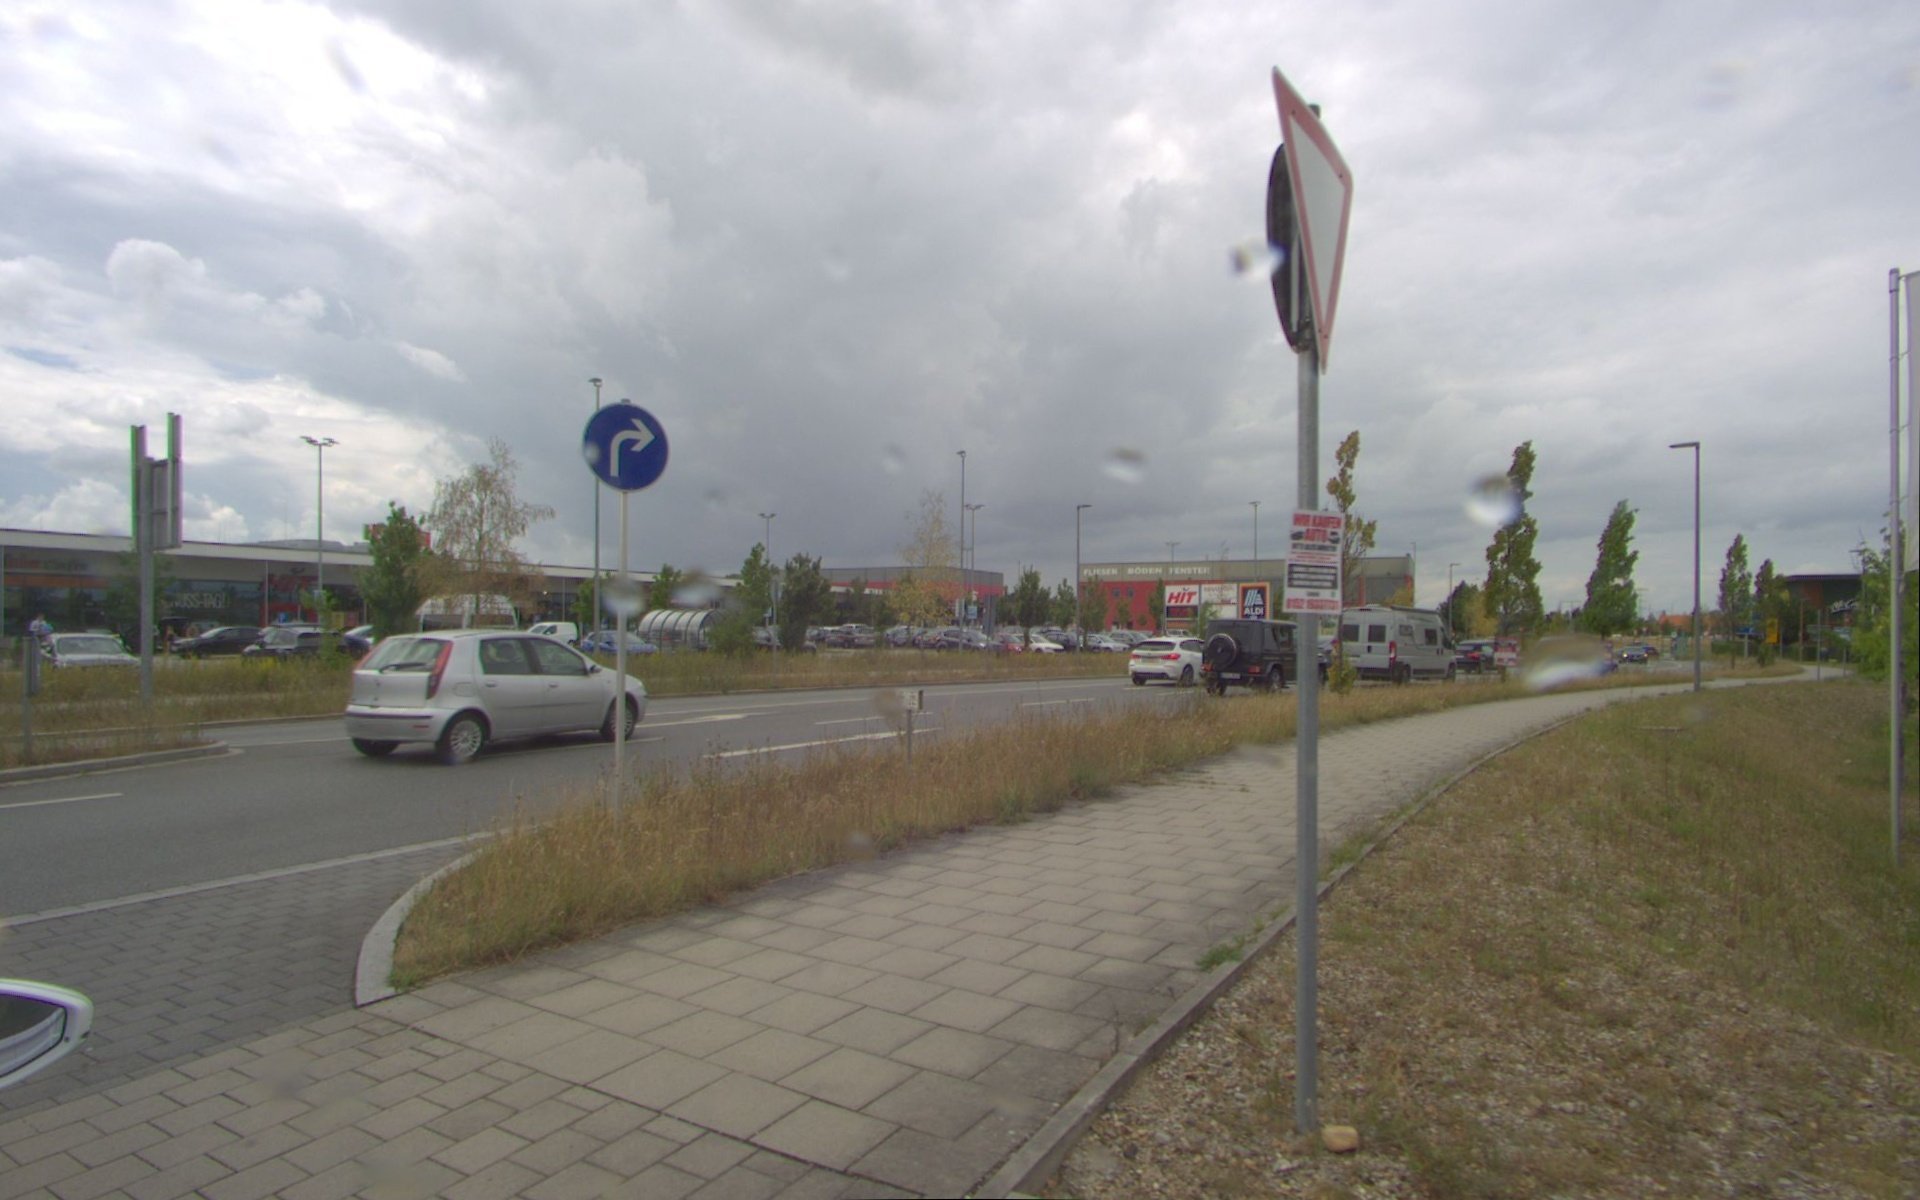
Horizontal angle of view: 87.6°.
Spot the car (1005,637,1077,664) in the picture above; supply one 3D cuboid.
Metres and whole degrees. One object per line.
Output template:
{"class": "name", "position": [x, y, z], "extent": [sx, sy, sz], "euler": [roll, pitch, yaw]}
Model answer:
{"class": "car", "position": [4.692, 2.896, 58.127], "extent": [3.770, 1.408, 1.899], "euler": [0, -1, 40]}

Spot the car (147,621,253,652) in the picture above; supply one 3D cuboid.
{"class": "car", "position": [-39.765, 1.887, 52.471], "extent": [1.970, 1.527, 3.984], "euler": [0, -2, 29]}

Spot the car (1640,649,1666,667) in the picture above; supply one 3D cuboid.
{"class": "car", "position": [77.440, 6.447, 111.925], "extent": [1.781, 1.873, 3.903], "euler": [-1, -2, 27]}

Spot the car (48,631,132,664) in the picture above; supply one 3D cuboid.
{"class": "car", "position": [-43.391, 2.337, 49.952], "extent": [3.940, 1.527, 1.991], "euler": [0, -1, 30]}

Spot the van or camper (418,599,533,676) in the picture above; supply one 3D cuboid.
{"class": "van or camper", "position": [-16.965, 1.323, 35.013], "extent": [3.955, 2.524, 2.272], "euler": [-2, -2, 42]}

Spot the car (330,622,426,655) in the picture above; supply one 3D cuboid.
{"class": "car", "position": [-30.655, 2.001, 52.815], "extent": [1.974, 1.639, 3.975], "euler": [0, -1, 36]}

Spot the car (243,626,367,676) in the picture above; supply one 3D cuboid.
{"class": "car", "position": [-20.727, 1.582, 31.647], "extent": [4.096, 1.469, 1.983], "euler": [-1, -2, 36]}

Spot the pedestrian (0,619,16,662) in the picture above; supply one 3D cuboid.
{"class": "pedestrian", "position": [-37.306, 1.565, 38.820], "extent": [0.886, 1.652, 0.820], "euler": [-1, -2, 33]}

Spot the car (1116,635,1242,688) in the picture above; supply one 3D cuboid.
{"class": "car", "position": [6.689, 1.807, 30.314], "extent": [1.782, 1.469, 4.211], "euler": [-1, -2, 44]}

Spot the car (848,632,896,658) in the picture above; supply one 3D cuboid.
{"class": "car", "position": [-6.381, 3.248, 72.705], "extent": [1.965, 1.756, 3.993], "euler": [0, -1, 20]}

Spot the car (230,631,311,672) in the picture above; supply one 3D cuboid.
{"class": "car", "position": [-30.655, 2.255, 44.491], "extent": [3.948, 1.674, 1.808], "euler": [-1, -1, 37]}

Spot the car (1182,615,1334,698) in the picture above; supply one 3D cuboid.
{"class": "car", "position": [7.886, 1.452, 26.198], "extent": [1.977, 1.948, 4.810], "euler": [0, -3, 41]}

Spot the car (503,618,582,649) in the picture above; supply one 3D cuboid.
{"class": "car", "position": [-26.047, 2.116, 62.613], "extent": [1.968, 1.842, 4.416], "euler": [-1, -2, 25]}

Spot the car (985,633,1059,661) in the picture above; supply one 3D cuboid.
{"class": "car", "position": [3.475, 2.617, 56.423], "extent": [3.770, 1.408, 1.899], "euler": [0, -1, 40]}

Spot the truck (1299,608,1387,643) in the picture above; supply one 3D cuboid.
{"class": "truck", "position": [34.613, 2.320, 90.437], "extent": [8.055, 2.983, 2.670], "euler": [1, -1, -25]}

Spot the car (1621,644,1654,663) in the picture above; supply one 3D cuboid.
{"class": "car", "position": [56.023, 4.409, 82.785], "extent": [1.755, 1.402, 4.116], "euler": [0, -2, 42]}

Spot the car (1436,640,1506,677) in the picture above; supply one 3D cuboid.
{"class": "car", "position": [23.974, 2.698, 46.869], "extent": [1.888, 1.588, 4.300], "euler": [0, -2, 42]}

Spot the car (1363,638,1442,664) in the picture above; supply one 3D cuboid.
{"class": "car", "position": [25.629, 2.956, 58.061], "extent": [3.946, 1.394, 1.855], "euler": [0, -1, 35]}

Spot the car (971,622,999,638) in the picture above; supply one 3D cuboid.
{"class": "car", "position": [2.769, 3.276, 109.516], "extent": [1.734, 1.675, 3.826], "euler": [0, -1, 24]}

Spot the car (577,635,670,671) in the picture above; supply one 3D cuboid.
{"class": "car", "position": [-13.796, 2.131, 40.934], "extent": [4.103, 1.402, 1.796], "euler": [-2, -3, 41]}

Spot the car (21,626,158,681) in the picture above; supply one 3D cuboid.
{"class": "car", "position": [-23.986, 1.447, 27.555], "extent": [4.096, 1.402, 1.983], "euler": [-1, -2, 36]}

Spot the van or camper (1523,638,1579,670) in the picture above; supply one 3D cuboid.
{"class": "van or camper", "position": [38.261, 3.465, 64.750], "extent": [1.979, 1.936, 5.157], "euler": [-1, -2, 44]}

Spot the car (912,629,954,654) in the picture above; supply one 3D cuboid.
{"class": "car", "position": [-1.856, 2.866, 70.217], "extent": [1.732, 1.675, 3.830], "euler": [0, -1, 19]}

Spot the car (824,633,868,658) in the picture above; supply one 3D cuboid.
{"class": "car", "position": [-8.402, 3.336, 73.900], "extent": [1.732, 1.675, 3.830], "euler": [0, -1, 19]}

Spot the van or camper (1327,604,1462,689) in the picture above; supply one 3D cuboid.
{"class": "van or camper", "position": [14.451, 1.533, 33.055], "extent": [2.173, 2.573, 6.115], "euler": [0, -3, 43]}

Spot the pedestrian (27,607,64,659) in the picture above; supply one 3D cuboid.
{"class": "pedestrian", "position": [-36.769, 1.326, 40.260], "extent": [0.989, 2.040, 0.863], "euler": [0, -1, 33]}

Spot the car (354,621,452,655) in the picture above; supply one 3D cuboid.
{"class": "car", "position": [-28.513, 1.918, 51.340], "extent": [1.974, 1.639, 3.975], "euler": [0, -1, 36]}

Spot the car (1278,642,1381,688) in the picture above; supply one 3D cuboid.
{"class": "car", "position": [13.812, 2.357, 37.256], "extent": [1.792, 1.527, 4.840], "euler": [-1, -2, 44]}

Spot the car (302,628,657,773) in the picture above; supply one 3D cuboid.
{"class": "car", "position": [-5.735, 1.099, 12.480], "extent": [1.770, 1.480, 3.808], "euler": [0, -1, 22]}

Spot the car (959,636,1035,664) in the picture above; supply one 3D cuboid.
{"class": "car", "position": [1.984, 2.698, 54.492], "extent": [3.770, 1.408, 1.899], "euler": [0, -1, 40]}

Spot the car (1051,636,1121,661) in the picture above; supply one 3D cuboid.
{"class": "car", "position": [7.619, 2.916, 60.612], "extent": [3.770, 1.408, 1.899], "euler": [0, -1, 40]}

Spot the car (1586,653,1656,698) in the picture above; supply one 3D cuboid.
{"class": "car", "position": [26.915, 3.031, 40.722], "extent": [3.473, 1.697, 1.669], "euler": [2, -3, -44]}

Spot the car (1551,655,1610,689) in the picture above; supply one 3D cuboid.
{"class": "car", "position": [27.636, 3.154, 44.539], "extent": [3.310, 1.403, 1.480], "euler": [2, -3, -44]}

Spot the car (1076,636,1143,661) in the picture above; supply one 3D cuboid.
{"class": "car", "position": [9.373, 3.027, 62.878], "extent": [3.770, 1.408, 1.899], "euler": [0, -1, 40]}
